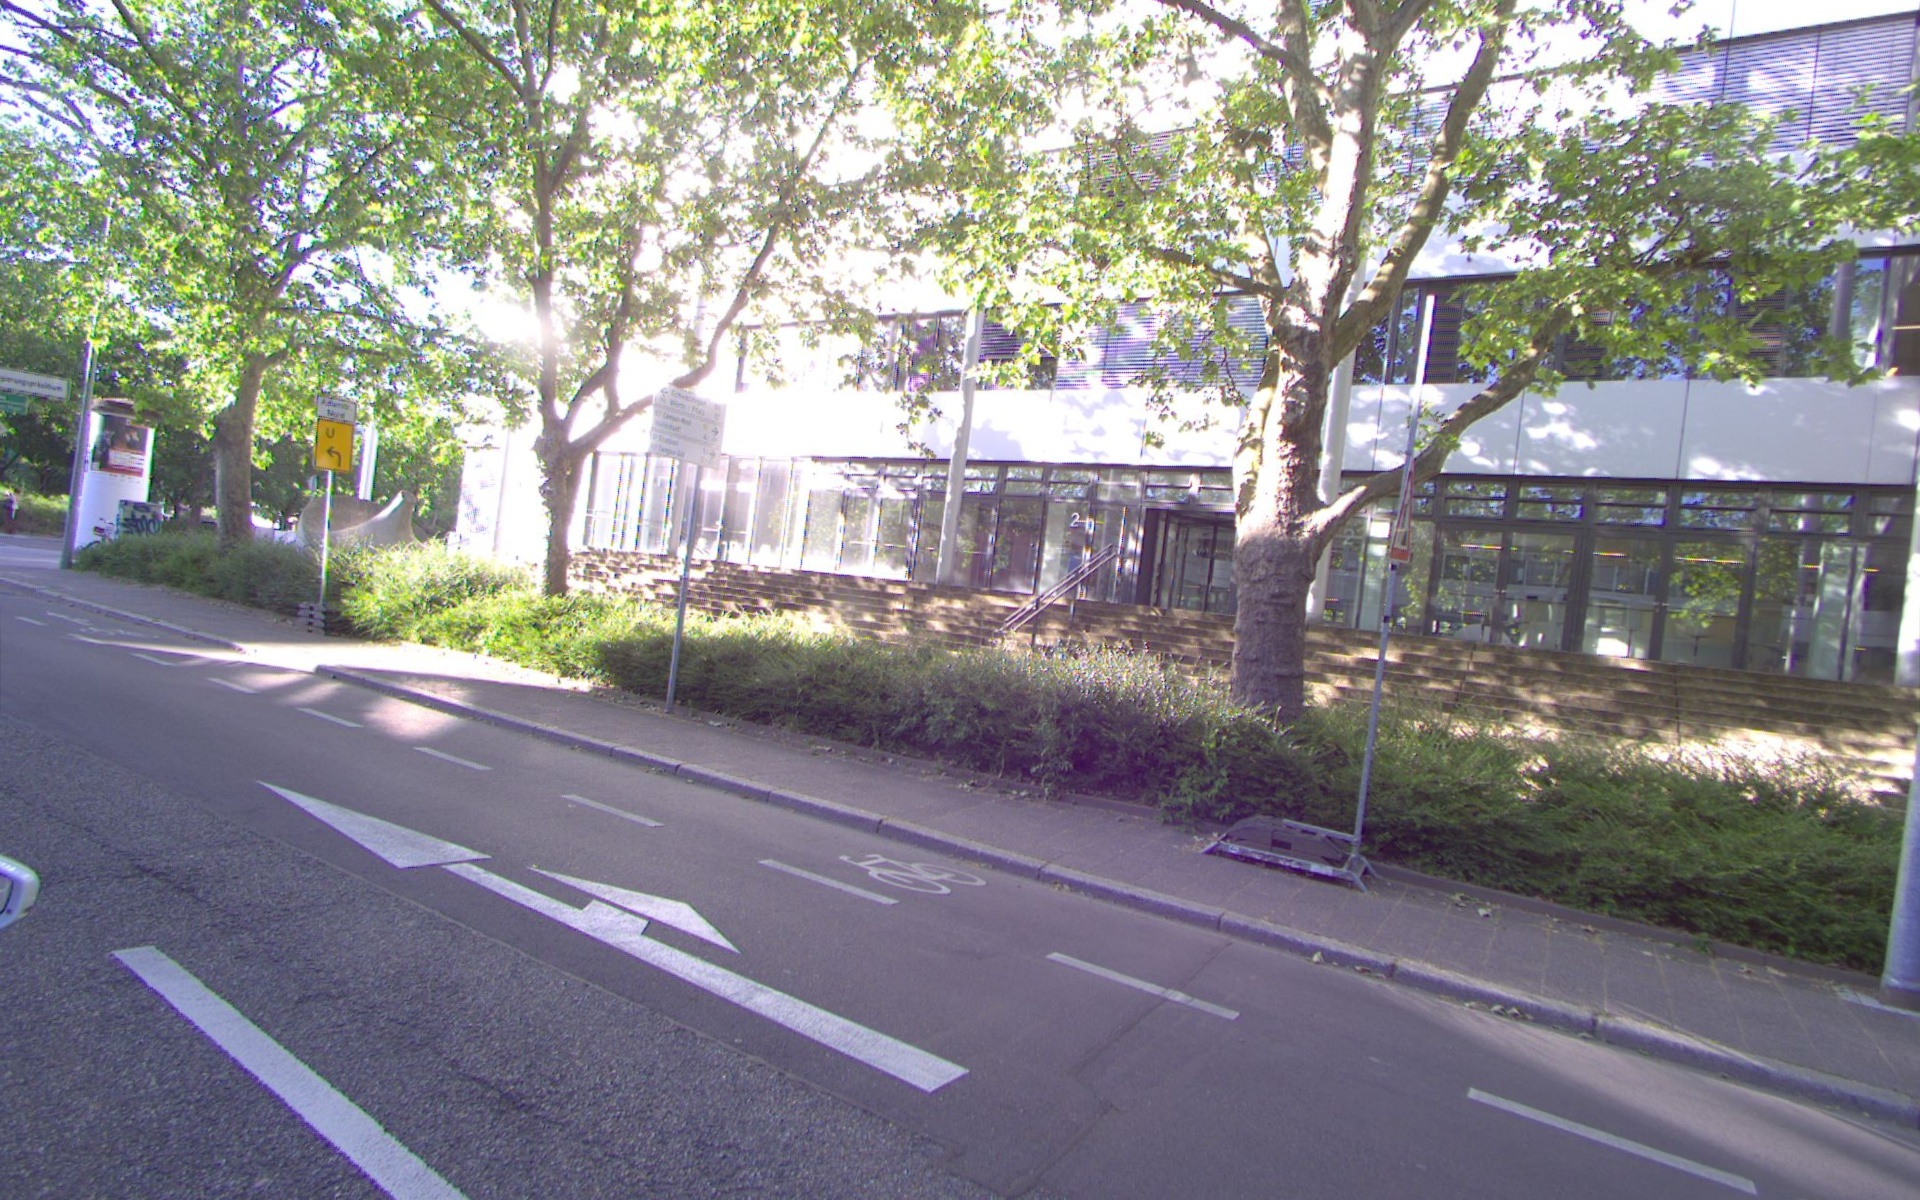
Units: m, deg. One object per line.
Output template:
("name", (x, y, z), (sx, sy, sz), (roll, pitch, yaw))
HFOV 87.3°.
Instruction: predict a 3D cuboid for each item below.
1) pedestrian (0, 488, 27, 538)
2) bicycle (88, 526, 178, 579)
("pedestrian", (-36.262, -3.327, 38.392), (0.672, 1.793, 0.613), (8, -1, -29))
("bicycle", (-19.036, -1.074, 23.173), (0.295, 0.991, 1.484), (6, -2, 37))
